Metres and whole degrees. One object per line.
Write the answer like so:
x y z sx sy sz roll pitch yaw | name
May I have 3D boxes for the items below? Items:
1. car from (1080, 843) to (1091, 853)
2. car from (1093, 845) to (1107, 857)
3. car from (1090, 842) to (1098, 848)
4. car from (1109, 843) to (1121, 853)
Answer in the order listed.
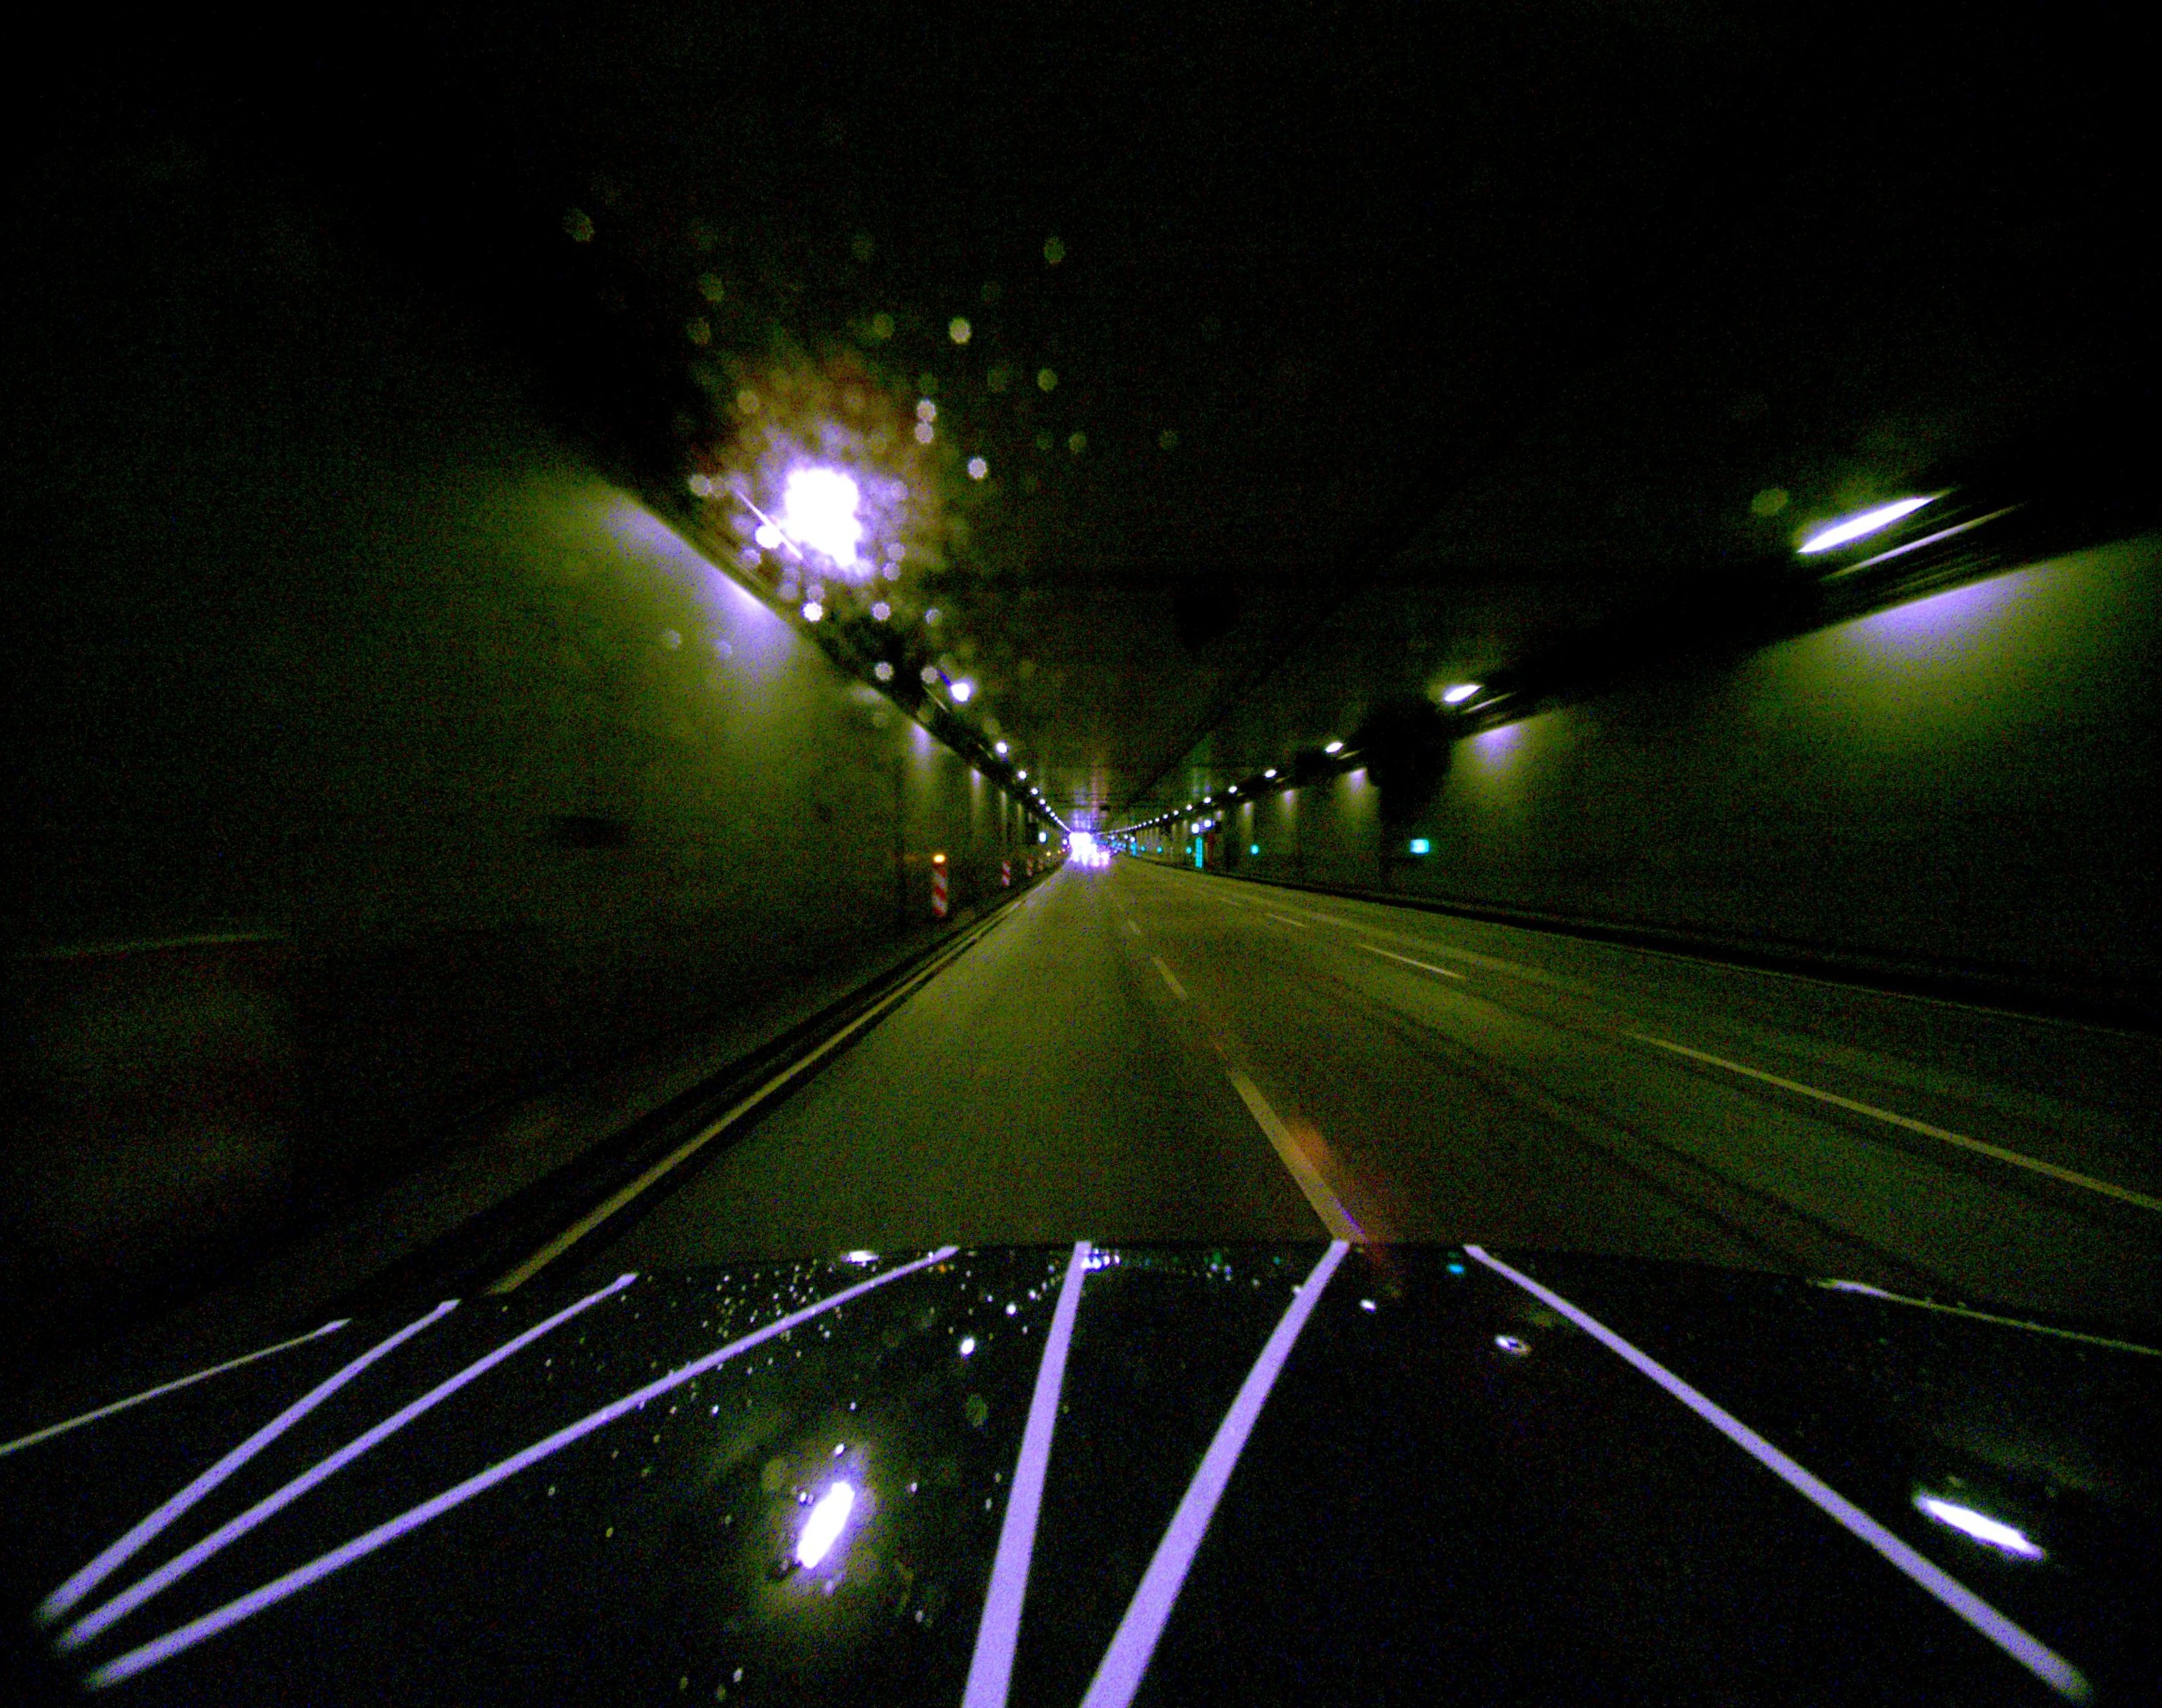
0.909 -1.157 143.075 1.998 1.686 3.999 -3 2 1 | car
2.871 -0.484 114.429 1.998 1.686 3.999 -2 1 0 | car
3.670 -2.575 217.371 1.998 1.756 3.999 -3 2 1 | car
6.161 -1.038 139.211 1.998 1.686 3.999 -2 1 0 | car
